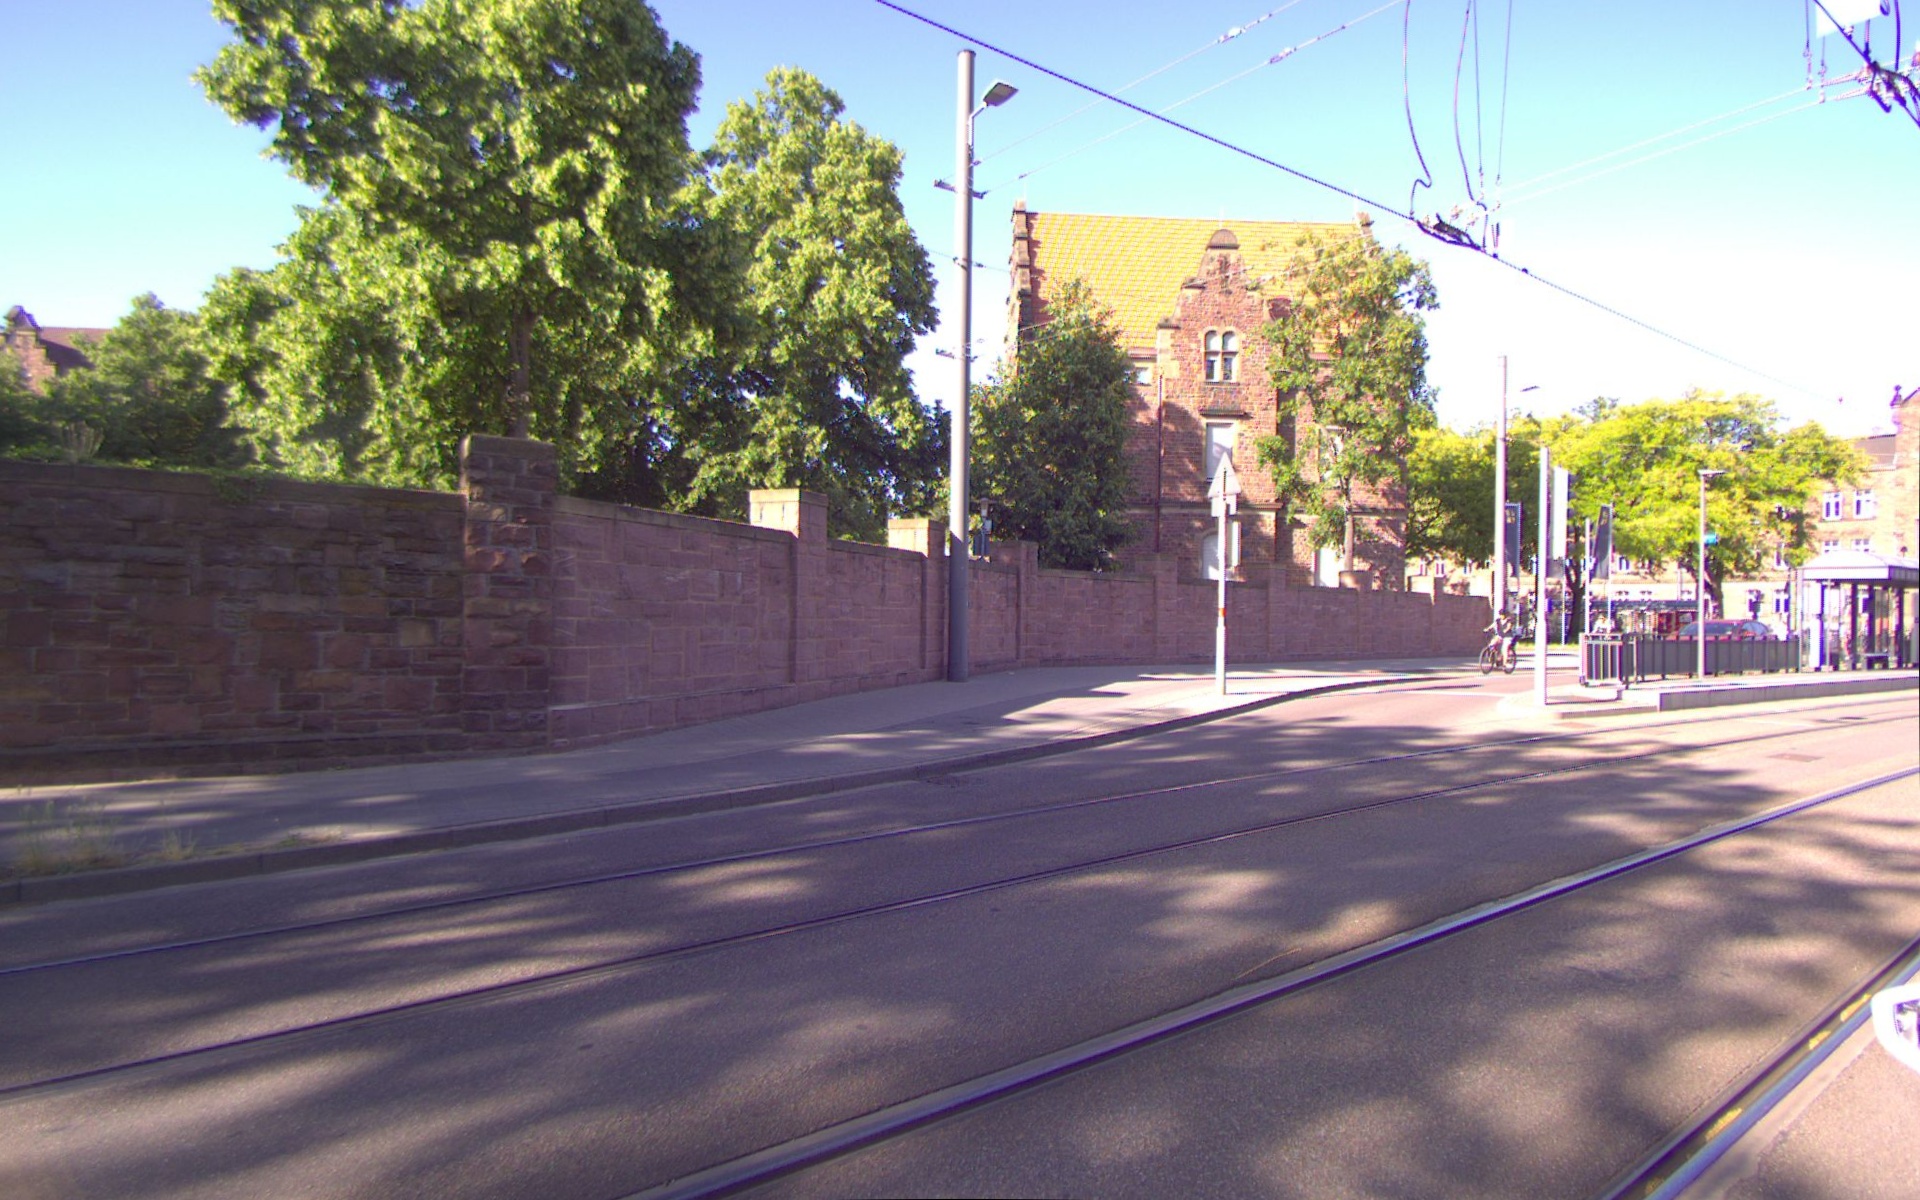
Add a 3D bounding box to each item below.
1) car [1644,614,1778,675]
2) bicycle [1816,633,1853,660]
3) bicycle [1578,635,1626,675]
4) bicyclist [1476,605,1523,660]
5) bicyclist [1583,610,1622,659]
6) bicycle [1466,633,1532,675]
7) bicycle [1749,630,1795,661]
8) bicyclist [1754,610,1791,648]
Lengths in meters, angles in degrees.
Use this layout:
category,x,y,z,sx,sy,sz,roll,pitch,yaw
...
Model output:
category,x,y,z,sx,sy,sz,roll,pitch,yaw
car,21.763,1.252,29.080,4.314,1.628,1.806,1,-1,-34
bicycle,38.060,2.016,43.690,1.993,1.087,0.665,1,1,-33
bicycle,19.825,1.707,30.997,1.840,1.102,0.679,6,-5,-38
bicyclist,14.863,0.892,27.661,1.139,1.478,0.649,1,0,-32
bicyclist,19.812,1.064,30.976,1.142,1.478,0.648,1,0,-38
bicycle,14.846,1.461,27.655,2.040,1.103,0.681,1,0,-32
bicycle,32.795,1.836,40.555,1.930,1.214,0.811,2,0,-30
bicyclist,32.808,1.187,40.547,1.176,1.490,0.753,2,0,-30
